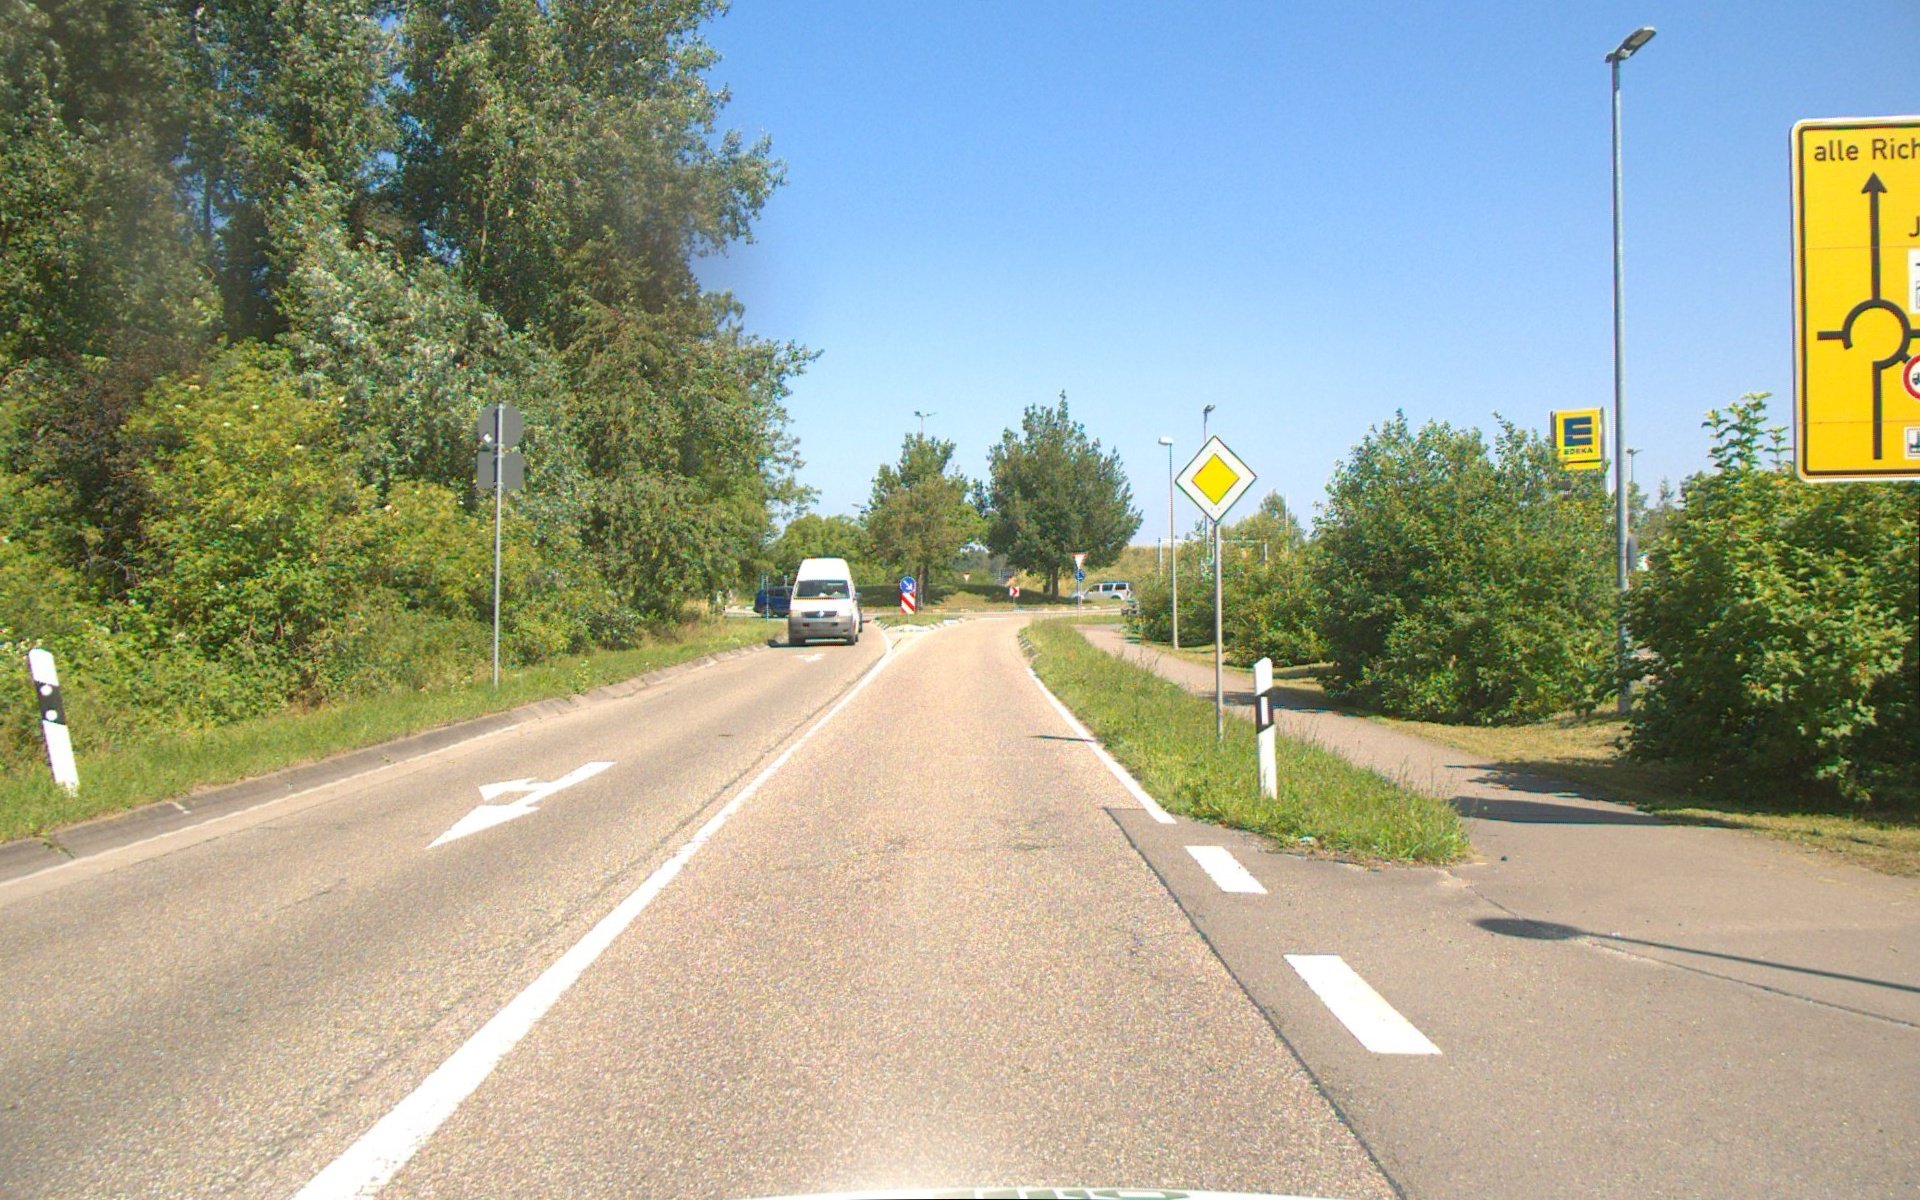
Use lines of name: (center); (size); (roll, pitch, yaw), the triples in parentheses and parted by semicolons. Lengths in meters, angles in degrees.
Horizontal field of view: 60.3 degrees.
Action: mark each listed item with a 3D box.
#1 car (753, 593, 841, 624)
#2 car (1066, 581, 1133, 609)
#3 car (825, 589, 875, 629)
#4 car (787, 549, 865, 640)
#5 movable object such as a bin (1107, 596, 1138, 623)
car: (-8.548, 0.423, 86.742); (4.325, 1.599, 1.716); (0, 1, 24)
car: (9.841, -0.348, 116.805); (4.415, 1.892, 2.002); (-1, 0, 14)
car: (-4.152, 0.313, 63.037); (1.664, 1.413, 4.293); (-1, 1, -1)
car: (-3.772, -0.186, 47.319); (1.873, 2.442, 4.909); (-1, 0, -1)
movable object such as a bin: (6.887, 0.391, 70.037); (0.851, 1.140, 1.453); (0, 1, 28)
